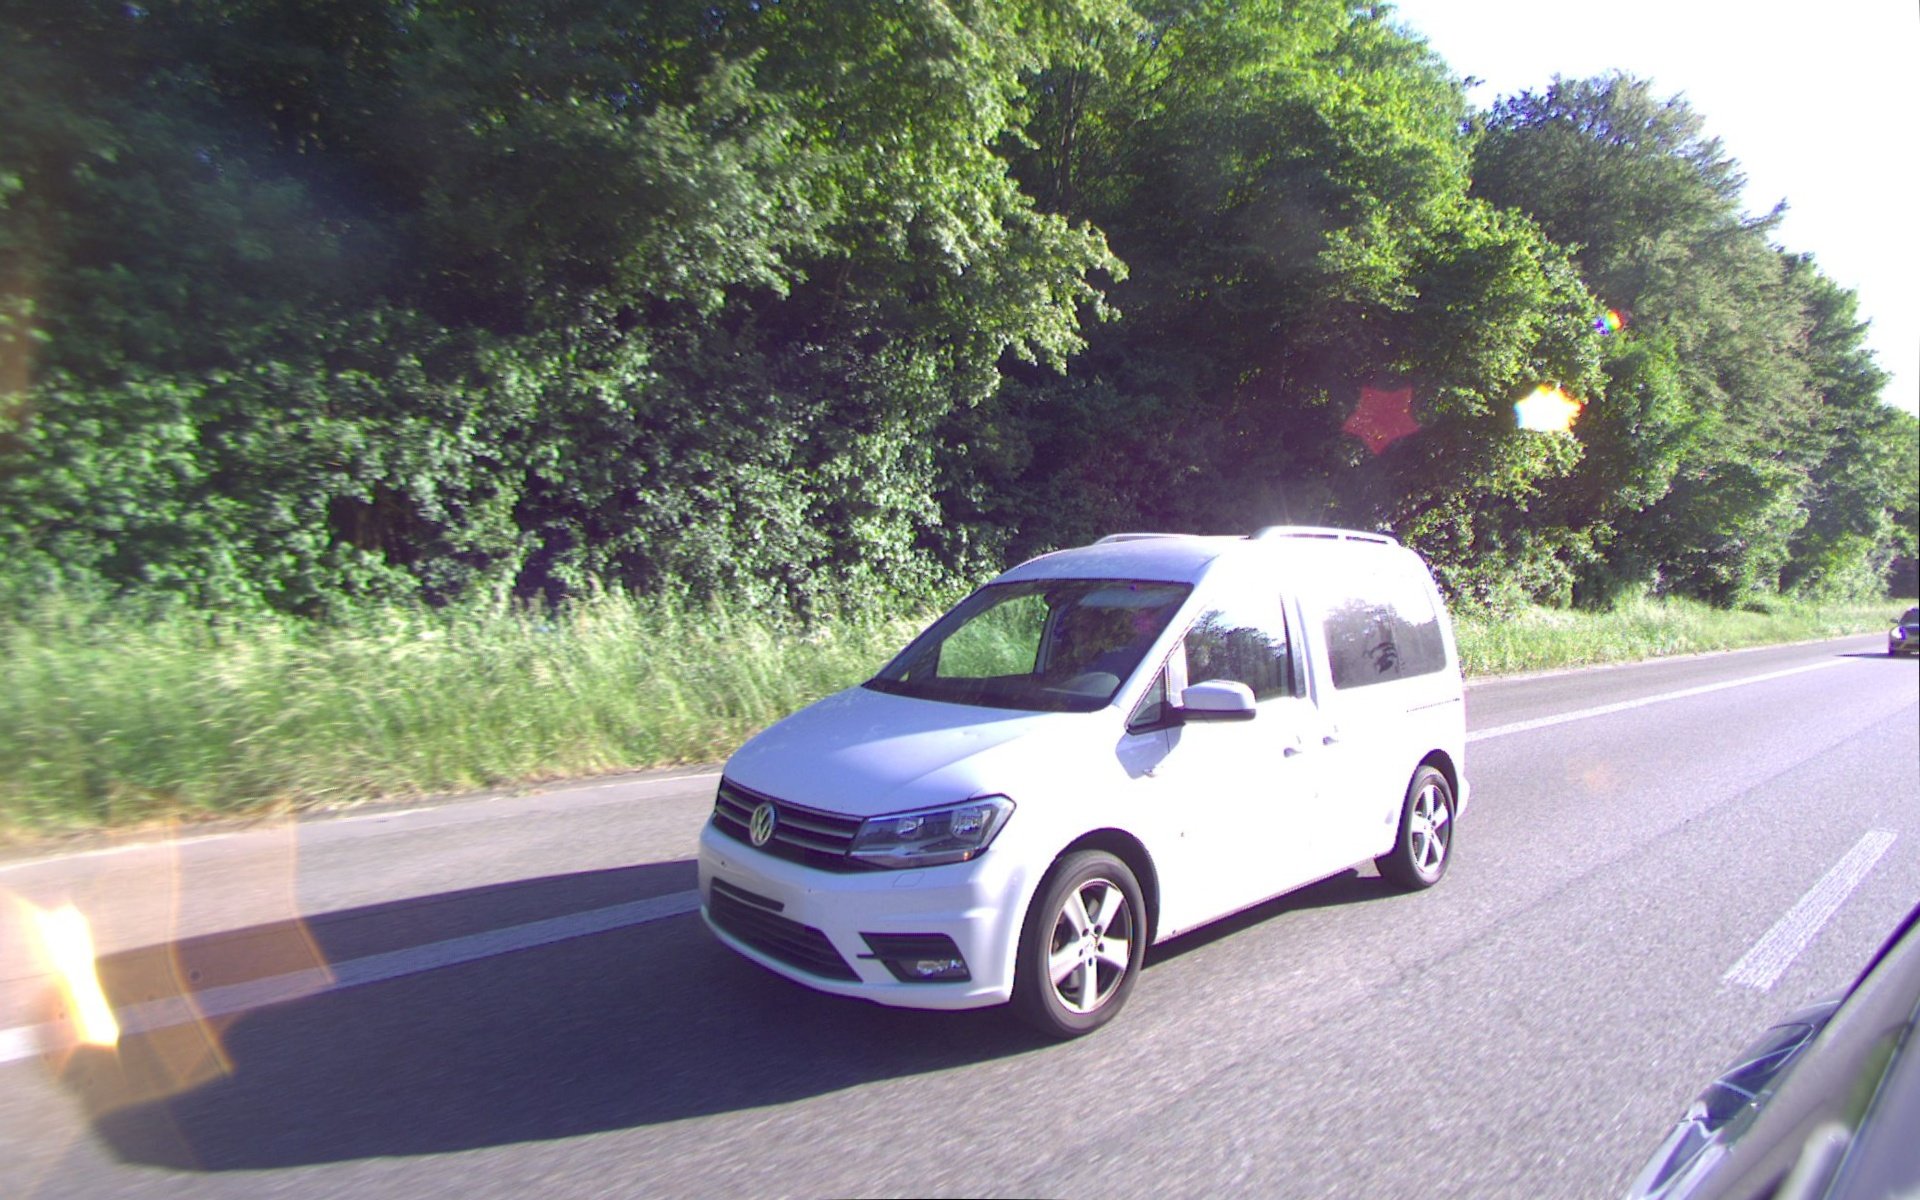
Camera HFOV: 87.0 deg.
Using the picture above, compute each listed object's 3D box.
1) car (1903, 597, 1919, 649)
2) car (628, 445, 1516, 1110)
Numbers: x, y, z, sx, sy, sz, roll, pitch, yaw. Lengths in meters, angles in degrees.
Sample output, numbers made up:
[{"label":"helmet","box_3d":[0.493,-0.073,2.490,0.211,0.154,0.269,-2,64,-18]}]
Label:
[{"label":"car","box_3d":[29.015,0.668,29.577,3.811,1.467,1.792,0,0,-42]},{"label":"car","box_3d":[0.908,0.464,4.974,4.508,1.836,1.802,-1,0,-42]}]
